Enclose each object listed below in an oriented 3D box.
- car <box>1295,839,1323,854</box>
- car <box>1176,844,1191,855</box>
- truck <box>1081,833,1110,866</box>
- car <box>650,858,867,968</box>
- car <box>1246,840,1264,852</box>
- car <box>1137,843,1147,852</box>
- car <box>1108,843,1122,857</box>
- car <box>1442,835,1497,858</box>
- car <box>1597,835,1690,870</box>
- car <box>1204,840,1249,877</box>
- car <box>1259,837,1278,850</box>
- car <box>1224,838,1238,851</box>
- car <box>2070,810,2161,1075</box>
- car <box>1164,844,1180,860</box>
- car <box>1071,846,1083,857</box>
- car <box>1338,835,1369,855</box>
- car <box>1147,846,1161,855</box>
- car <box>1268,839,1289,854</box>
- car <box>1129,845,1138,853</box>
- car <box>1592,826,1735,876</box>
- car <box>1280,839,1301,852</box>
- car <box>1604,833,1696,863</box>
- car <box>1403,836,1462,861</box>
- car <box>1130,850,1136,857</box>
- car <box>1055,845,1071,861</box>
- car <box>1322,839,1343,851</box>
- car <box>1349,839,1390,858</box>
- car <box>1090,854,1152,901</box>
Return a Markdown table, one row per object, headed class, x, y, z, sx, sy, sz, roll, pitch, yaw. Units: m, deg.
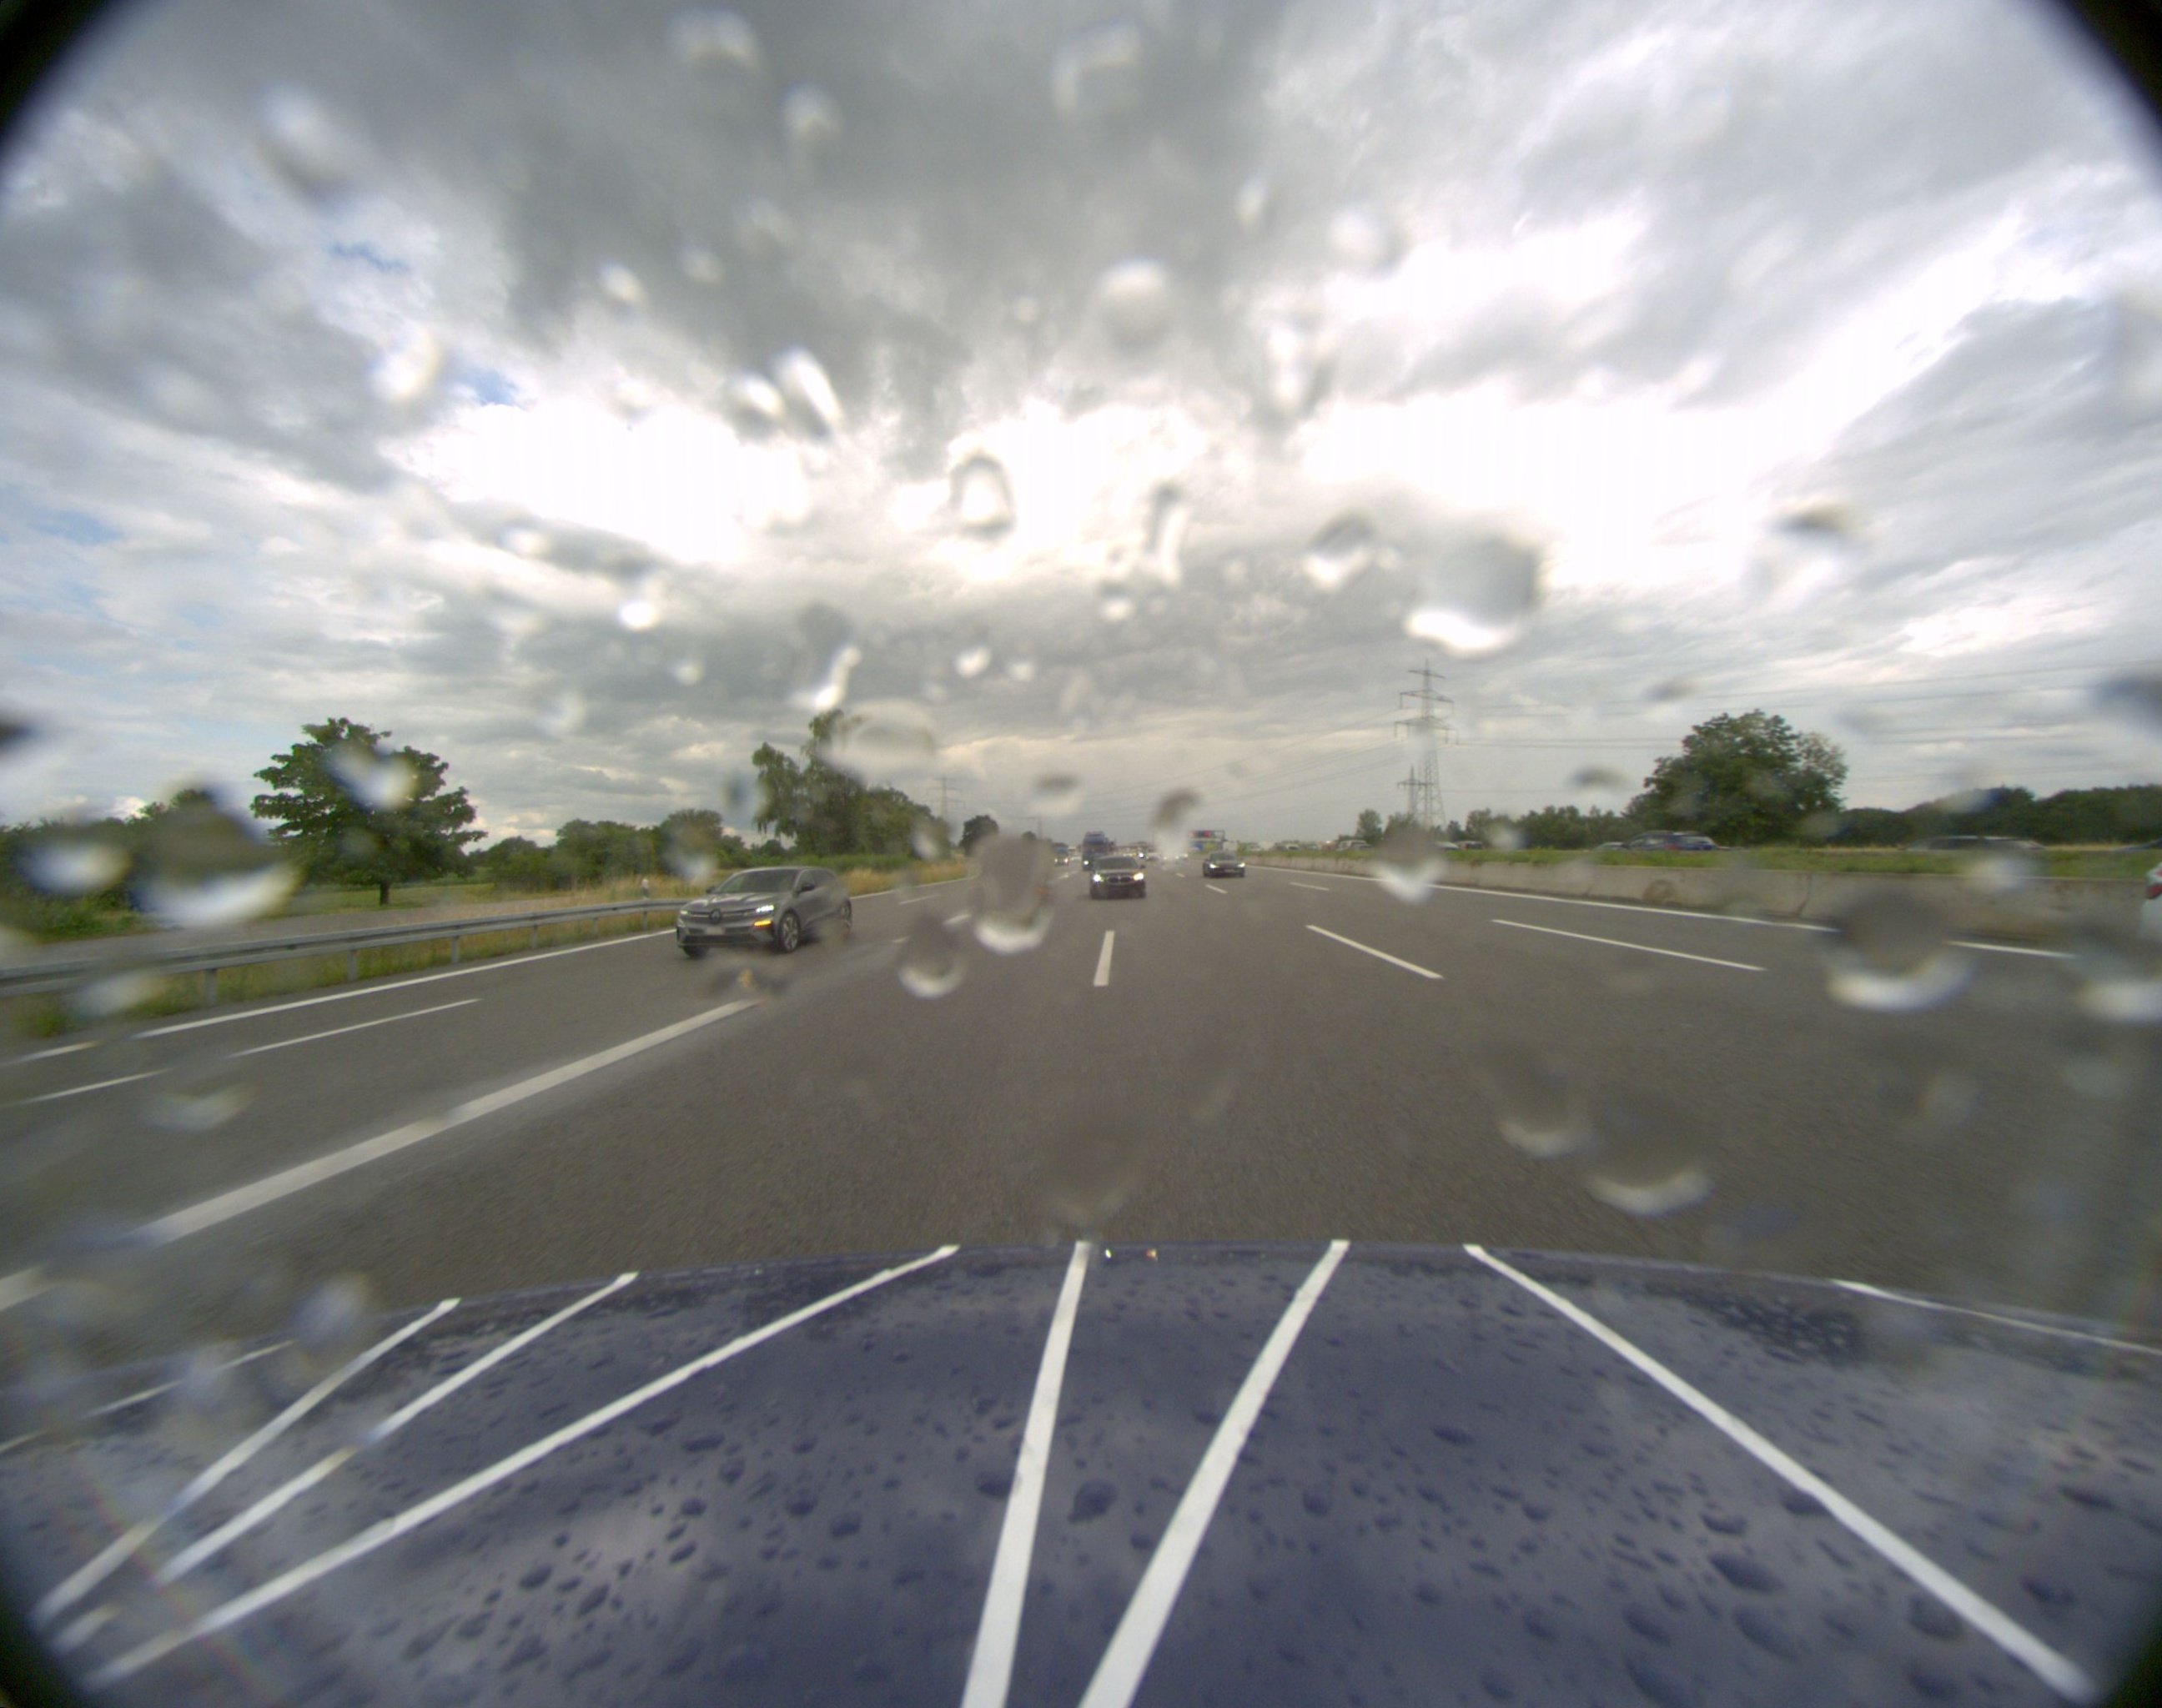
| class | x | y | z | sx | sy | sz | roll | pitch | yaw |
| --- | --- | --- | --- | --- | --- | --- | --- | --- | --- |
| car | 23.114 | -0.796 | 77.137 | 1.824 | 1.403 | 4.000 | -2 | 1 | 3 |
| car | 15.118 | -0.672 | 112.235 | 1.822 | 1.565 | 4.000 | -2 | 1 | 3 |
| truck | 1.367 | -0.400 | 68.114 | 2.391 | 2.726 | 6.594 | -2 | 1 | 3 |
| car | -5.745 | 0.949 | 14.312 | 1.998 | 1.632 | 4.630 | -2 | 0 | 1 |
| car | 25.368 | -1.141 | 110.949 | 1.824 | 1.721 | 4.000 | -2 | 1 | 3 |
| car | 12.252 | -1.293 | 152.834 | 1.998 | 1.810 | 5.163 | -2 | 1 | 3 |
| car | 5.237 | -0.624 | 117.720 | 1.998 | 2.002 | 5.051 | -2 | 1 | 3 |
| car | 26.414 | -0.520 | 51.856 | 1.824 | 1.403 | 4.000 | -2 | 1 | 3 |
| car | 24.423 | -0.079 | 33.124 | 1.467 | 1.403 | 3.596 | -2 | 1 | 3 |
| car | 7.966 | 0.203 | 41.956 | 1.997 | 1.810 | 5.164 | -2 | 1 | 6 |
| car | 30.487 | -1.760 | 123.856 | 2.077 | 1.959 | 4.953 | -2 | 1 | 3 |
| car | 26.144 | -1.688 | 132.391 | 1.824 | 2.112 | 4.000 | -2 | 1 | 3 |
| car | 7.681 | 0.551 | 2.813 | 1.819 | 1.680 | 4.852 | -2 | 0 | 2 |
| car | 10.099 | -0.237 | 84.184 | 1.710 | 1.562 | 4.348 | -2 | 1 | 7 |
| car | -0.673 | -0.536 | 142.943 | 1.998 | 2.002 | 5.052 | -2 | 0 | 3 |
| car | 27.490 | -0.926 | 76.674 | 1.824 | 1.897 | 4.000 | -2 | 1 | 3 |
| car | 11.524 | -0.548 | 120.162 | 1.806 | 1.424 | 4.000 | -2 | 1 | 3 |
| car | 24.781 | -0.927 | 95.451 | 1.824 | 1.721 | 4.000 | -2 | 1 | 3 |
| car | 11.803 | -1.091 | 170.662 | 1.998 | 1.810 | 5.163 | -2 | 1 | 5 |
| car | 20.686 | -0.126 | 27.246 | 1.785 | 1.603 | 4.352 | -2 | 1 | 1 |
| car | 28.813 | -1.168 | 104.492 | 1.824 | 1.721 | 4.000 | -2 | 1 | 3 |
| car | 29.122 | -0.331 | 39.064 | 1.824 | 1.403 | 4.000 | -2 | 1 | 3 |
| car | 21.208 | -0.351 | 45.982 | 1.824 | 1.403 | 4.000 | -2 | 1 | 3 |
| car | 15.875 | -0.144 | 232.514 | 1.998 | 1.801 | 4.274 | -2 | 1 | 4 |
| car | -2.366 | -0.134 | 100.456 | 1.835 | 2.002 | 3.863 | -2 | 1 | 3 |
| car | 36.762 | -1.342 | 111.241 | 1.824 | 1.721 | 4.000 | -2 | 1 | 3 |
| car | 22.689 | -0.451 | 59.825 | 1.824 | 1.403 | 4.000 | -2 | 1 | 3 |
| car | 1.376 | 0.741 | 26.138 | 1.922 | 1.407 | 4.000 | -2 | 0 | 3 |
